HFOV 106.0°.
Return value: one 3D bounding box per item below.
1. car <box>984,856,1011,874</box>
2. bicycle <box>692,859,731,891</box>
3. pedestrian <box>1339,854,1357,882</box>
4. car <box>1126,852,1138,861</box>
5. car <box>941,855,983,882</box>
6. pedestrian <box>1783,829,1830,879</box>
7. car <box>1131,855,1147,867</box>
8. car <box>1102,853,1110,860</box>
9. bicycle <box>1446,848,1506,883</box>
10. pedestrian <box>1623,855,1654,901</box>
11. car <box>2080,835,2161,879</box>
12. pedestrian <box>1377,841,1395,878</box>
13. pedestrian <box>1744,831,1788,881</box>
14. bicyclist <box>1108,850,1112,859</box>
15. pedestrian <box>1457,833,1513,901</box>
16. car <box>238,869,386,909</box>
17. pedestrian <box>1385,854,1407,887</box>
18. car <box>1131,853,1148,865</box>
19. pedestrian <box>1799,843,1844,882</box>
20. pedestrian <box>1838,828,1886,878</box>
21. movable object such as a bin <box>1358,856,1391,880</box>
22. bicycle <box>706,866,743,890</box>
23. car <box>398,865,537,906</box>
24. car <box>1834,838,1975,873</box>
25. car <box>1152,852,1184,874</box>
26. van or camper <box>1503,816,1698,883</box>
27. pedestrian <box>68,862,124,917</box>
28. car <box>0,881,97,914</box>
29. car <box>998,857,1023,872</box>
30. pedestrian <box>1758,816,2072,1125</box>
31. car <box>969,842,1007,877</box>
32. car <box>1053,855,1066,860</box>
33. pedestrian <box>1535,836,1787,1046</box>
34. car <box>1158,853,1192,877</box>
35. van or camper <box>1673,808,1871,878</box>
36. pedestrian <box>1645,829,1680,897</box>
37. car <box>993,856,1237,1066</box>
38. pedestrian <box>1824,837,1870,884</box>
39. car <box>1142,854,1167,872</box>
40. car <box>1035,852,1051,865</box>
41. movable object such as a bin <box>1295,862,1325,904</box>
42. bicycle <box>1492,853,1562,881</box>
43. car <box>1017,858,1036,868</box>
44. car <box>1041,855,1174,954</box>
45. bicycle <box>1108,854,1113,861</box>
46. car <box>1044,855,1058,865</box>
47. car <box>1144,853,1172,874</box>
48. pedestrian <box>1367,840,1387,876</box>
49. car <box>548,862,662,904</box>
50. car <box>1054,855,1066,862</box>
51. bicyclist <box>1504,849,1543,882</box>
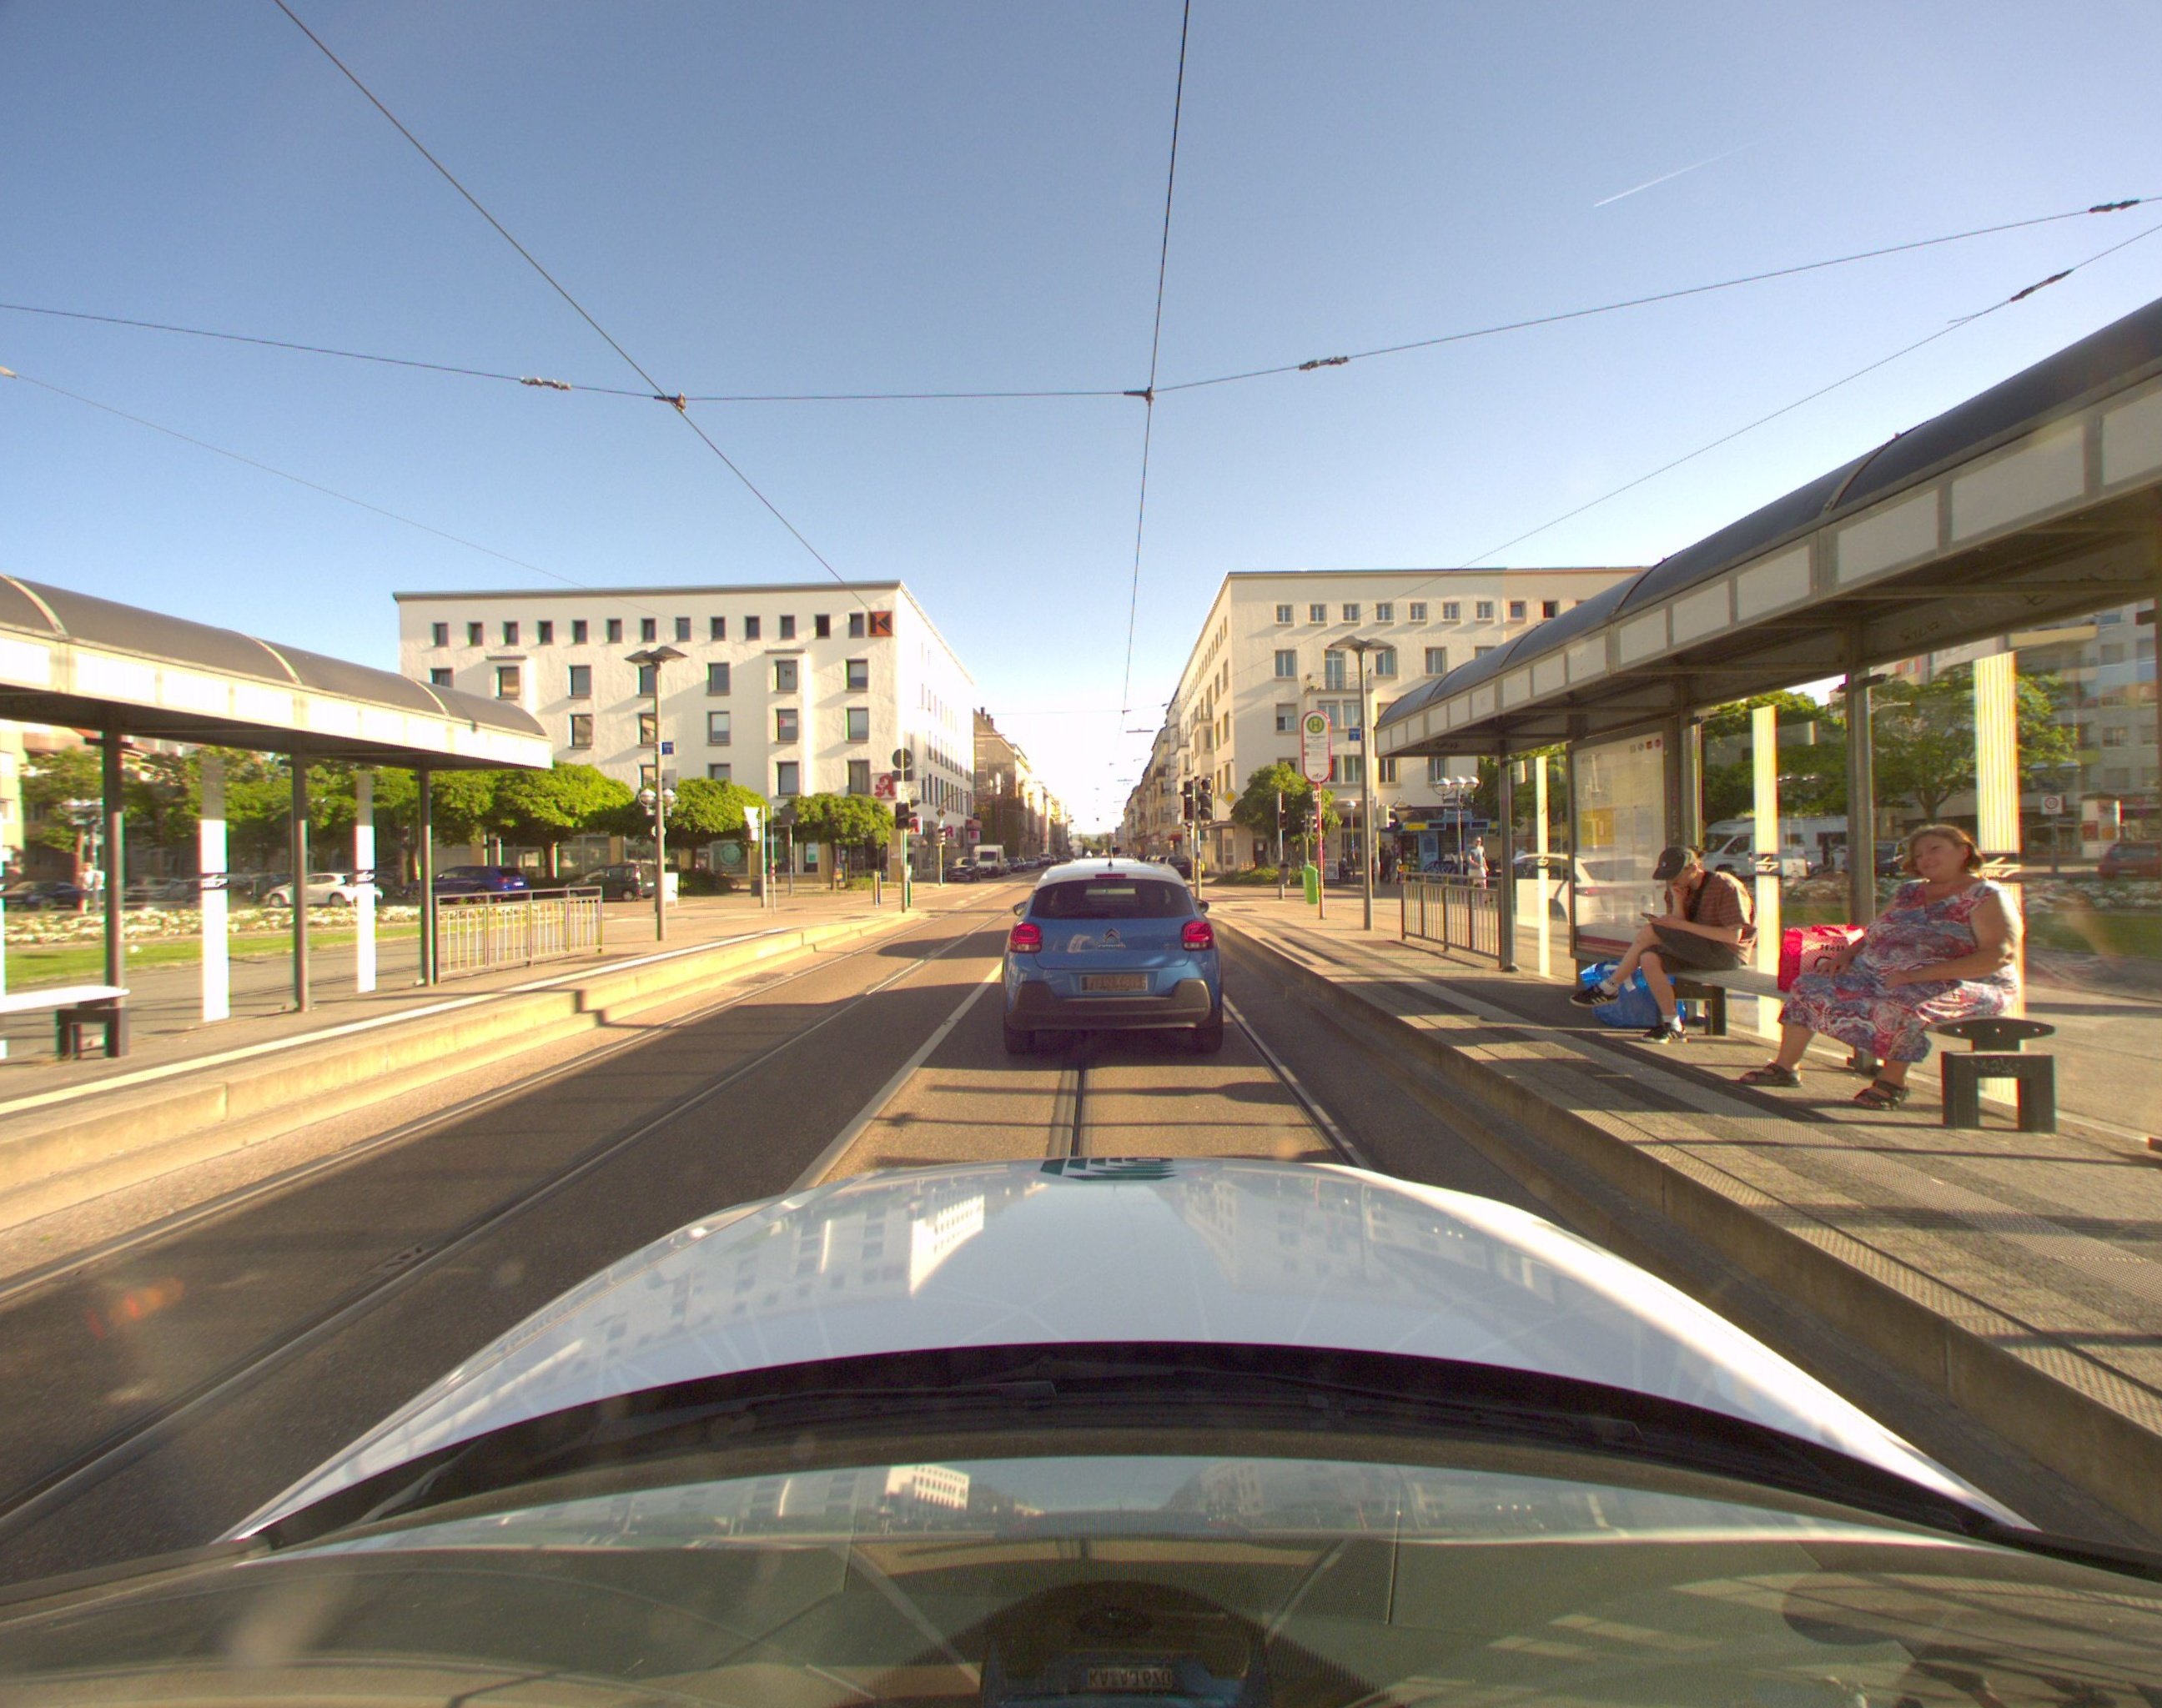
[{"bbox_3d":[-7.096,0.956,69.827,1.881,1.496,3.562,0,-1,1],"label":"car"},{"bbox_3d":[-19.829,1.112,43.741,0.614,1.607,2.625,-1,0,6],"label":"bicycle"},{"bbox_3d":[12.757,0.654,38.867,0.733,1.316,0.631,-1,0,25],"label":"pedestrian"},{"bbox_3d":[8.324,0.460,133.275,1.986,1.464,4.002,-1,0,2],"label":"car"},{"bbox_3d":[-7.654,0.925,52.751,1.987,1.569,4.403,2,-1,1],"label":"car"},{"bbox_3d":[23.600,-0.007,26.507,0.897,1.585,0.663,-1,0,5],"label":"pedestrian"},{"bbox_3d":[7.526,0.860,106.251,1.985,1.464,4.003,-1,0,3],"label":"car"},{"bbox_3d":[6.441,0.522,211.885,1.986,1.772,4.002,-1,0,2],"label":"car"},{"bbox_3d":[17.722,0.526,36.574,2.376,1.531,0.726,1,0,0],"label":"bicycle"},{"bbox_3d":[14.282,0.613,20.866,0.466,1.169,0.559,0,-1,10],"label":"pedestrian"},{"bbox_3d":[38.626,0.070,29.053,3.983,1.486,1.995,-1,0,-7],"label":"car"},{"bbox_3d":[15.481,0.263,41.313,0.650,1.839,0.660,-1,0,5],"label":"pedestrian"},{"bbox_3d":[23.517,0.074,27.955,0.897,1.685,0.696,-1,0,5],"label":"pedestrian"},{"bbox_3d":[6.116,0.119,169.232,0.807,2.014,0.922,0,-1,1],"label":"bicyclist"},{"bbox_3d":[11.391,0.369,23.019,0.978,1.878,1.128,-1,-1,-1],"label":"pedestrian"},{"bbox_3d":[-33.512,1.506,35.582,4.591,1.606,1.855,-1,0,-1],"label":"car"},{"bbox_3d":[14.024,0.734,36.265,0.727,1.409,0.755,-1,3,2],"label":"pedestrian"},{"bbox_3d":[7.285,0.583,102.068,1.986,1.464,4.507,-1,0,2],"label":"car"},{"bbox_3d":[24.628,0.278,27.101,0.897,1.279,0.605,-1,0,6],"label":"pedestrian"},{"bbox_3d":[25.278,-0.026,26.369,0.897,1.585,0.663,-1,0,5],"label":"pedestrian"},{"bbox_3d":[14.430,0.688,40.046,1.194,1.153,1.218,-1,0,2],"label":"movable object such as a bin"},{"bbox_3d":[-19.106,1.251,43.699,0.615,1.190,2.624,-1,0,5],"label":"bicycle"},{"bbox_3d":[-27.184,1.358,36.217,4.591,1.662,1.999,-1,0,-1],"label":"car"},{"bbox_3d":[36.669,0.074,36.385,3.959,1.511,2.007,0,-1,13],"label":"car"},{"bbox_3d":[6.096,0.630,57.345,1.986,1.464,4.002,-1,0,2],"label":"car"},{"bbox_3d":[22.864,-0.221,36.075,7.093,2.747,2.372,-1,1,2],"label":"van or camper"},{"bbox_3d":[-33.626,1.194,27.814,0.938,1.817,0.872,-1,0,13],"label":"pedestrian"},{"bbox_3d":[-52.329,2.168,41.047,1.925,1.494,4.314,0,-1,-27],"label":"car"},{"bbox_3d":[-6.756,1.035,78.475,1.987,1.398,4.157,0,-1,1],"label":"car"},{"bbox_3d":[3.946,0.515,3.912,0.855,1.334,0.623,2,-1,1],"label":"pedestrian"},{"bbox_3d":[-7.124,0.389,62.999,2.078,2.542,6.206,0,0,1],"label":"car"},{"bbox_3d":[-4.871,0.793,185.202,1.981,1.156,4.528,-1,0,11],"label":"car"},{"bbox_3d":[3.725,0.524,5.332,0.995,1.225,0.923,2,-1,1],"label":"pedestrian"},{"bbox_3d":[6.018,0.696,52.506,1.902,1.464,4.002,-1,0,2],"label":"car"},{"bbox_3d":[30.124,-0.460,35.705,6.375,2.839,2.381,-1,0,5],"label":"van or camper"},{"bbox_3d":[15.038,0.236,21.081,0.554,1.745,0.528,0,-1,12],"label":"pedestrian"},{"bbox_3d":[0.294,0.766,7.695,1.721,1.482,3.828,0,0,2],"label":"car"},{"bbox_3d":[26.234,0.221,27.900,0.897,1.585,0.663,-1,0,5],"label":"pedestrian"},{"bbox_3d":[6.571,0.800,73.177,1.986,1.464,4.002,-1,0,2],"label":"car"},{"bbox_3d":[-5.881,0.724,127.127,1.997,2.014,4.694,0,-1,4],"label":"car"},{"bbox_3d":[4.353,0.551,15.510,0.447,0.786,0.489,-1,0,4],"label":"movable object such as a bin"},{"bbox_3d":[16.933,0.489,30.943,2.309,1.061,0.720,1,0,-1],"label":"bicycle"},{"bbox_3d":[-6.906,1.138,103.552,1.987,1.325,3.923,0,-1,1],"label":"car"},{"bbox_3d":[0.467,0.763,14.587,1.977,1.464,4.817,0,0,2],"label":"car"},{"bbox_3d":[6.155,0.690,169.457,0.916,1.389,3.133,-1,0,2],"label":"bicycle"},{"bbox_3d":[-5.083,1.020,137.396,1.946,1.552,3.942,0,-1,4],"label":"car"},{"bbox_3d":[5.925,0.716,62.951,1.986,1.501,4.002,-1,0,2],"label":"car"},{"bbox_3d":[15.355,0.228,42.237,0.781,1.839,0.679,-1,0,5],"label":"pedestrian"},{"bbox_3d":[-21.242,1.276,36.424,3.973,1.706,1.826,-1,0,1],"label":"car"},{"bbox_3d":[-4.032,0.876,154.299,1.986,1.156,4.002,-1,0,2],"label":"car"},{"bbox_3d":[16.794,0.411,30.928,0.928,1.225,0.953,1,0,-1],"label":"bicyclist"}]
